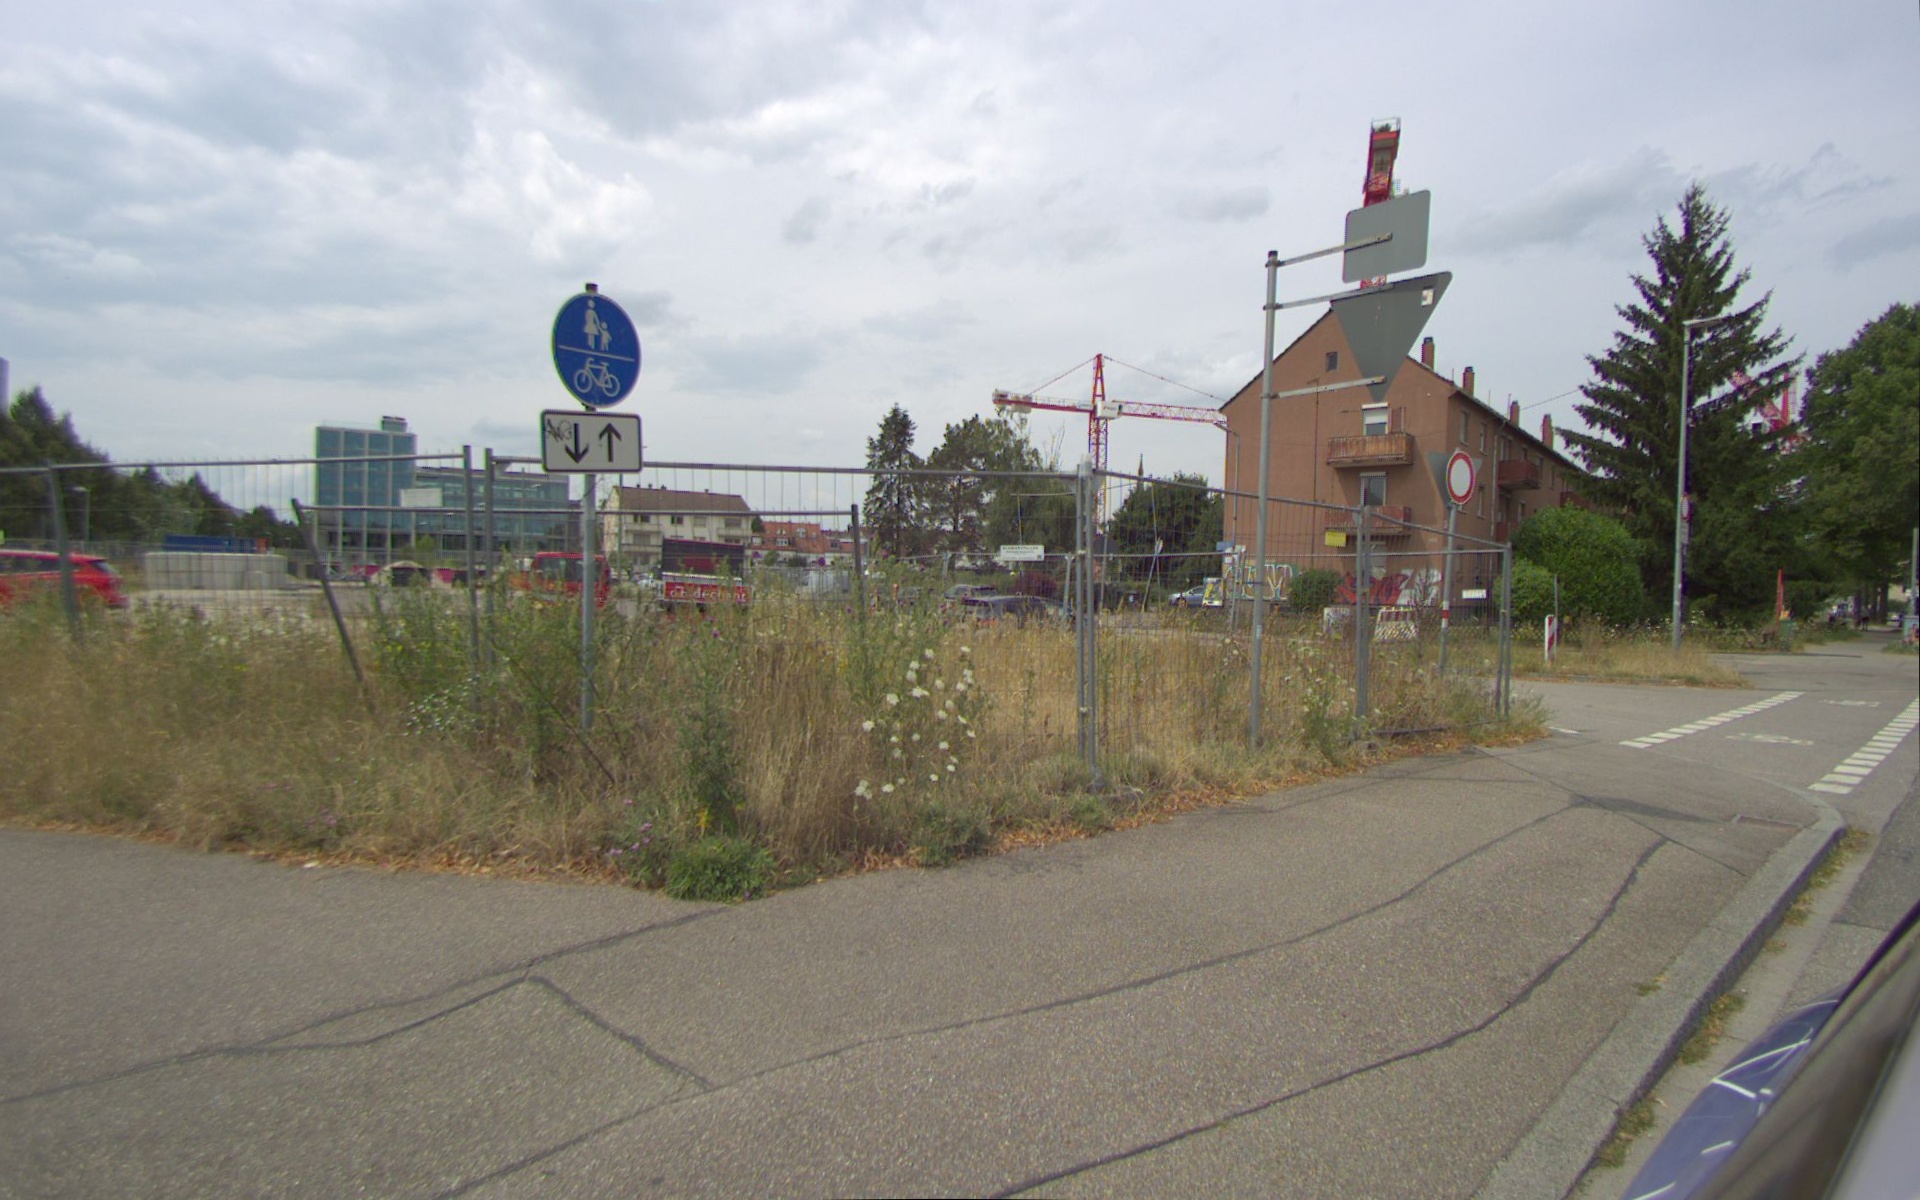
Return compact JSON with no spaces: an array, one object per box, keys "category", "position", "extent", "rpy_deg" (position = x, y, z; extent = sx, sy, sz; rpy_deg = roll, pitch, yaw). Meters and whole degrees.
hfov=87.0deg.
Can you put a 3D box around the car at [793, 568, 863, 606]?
[{"category":"car","position":[-8.127,-0.826,62.080],"extent":[2.107,2.163,4.909],"rpy_deg":[1,1,-36]}]

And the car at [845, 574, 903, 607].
[{"category":"car","position":[-4.904,-0.561,57.395],"extent":[1.820,1.771,4.019],"rpy_deg":[1,1,-29]}]

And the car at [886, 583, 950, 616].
[{"category":"car","position":[-2.236,-0.040,53.043],"extent":[1.765,1.622,4.020],"rpy_deg":[1,1,-28]}]

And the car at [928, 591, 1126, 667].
[{"category":"car","position":[1.527,0.591,22.260],"extent":[4.179,1.492,1.767],"rpy_deg":[1,1,-37]}]

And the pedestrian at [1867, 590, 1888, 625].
[{"category":"pedestrian","position":[54.659,0.428,60.284],"extent":[0.853,2.039,0.720],"rpy_deg":[2,0,43]}]

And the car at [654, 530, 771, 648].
[{"category":"car","position":[-6.150,-0.302,24.462],"extent":[2.269,2.442,6.557],"rpy_deg":[1,1,-18]}]

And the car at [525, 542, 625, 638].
[{"category":"car","position":[-9.046,-0.254,24.064],"extent":[1.896,1.934,4.999],"rpy_deg":[4,0,-19]}]

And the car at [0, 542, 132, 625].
[{"category":"car","position":[-19.918,-0.352,20.256],"extent":[5.043,1.624,1.789],"rpy_deg":[1,1,-37]}]

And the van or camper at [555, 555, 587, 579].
[{"category":"van or camper","position":[-45.941,-3.852,119.428],"extent":[2.307,2.721,5.247],"rpy_deg":[1,1,-34]}]
